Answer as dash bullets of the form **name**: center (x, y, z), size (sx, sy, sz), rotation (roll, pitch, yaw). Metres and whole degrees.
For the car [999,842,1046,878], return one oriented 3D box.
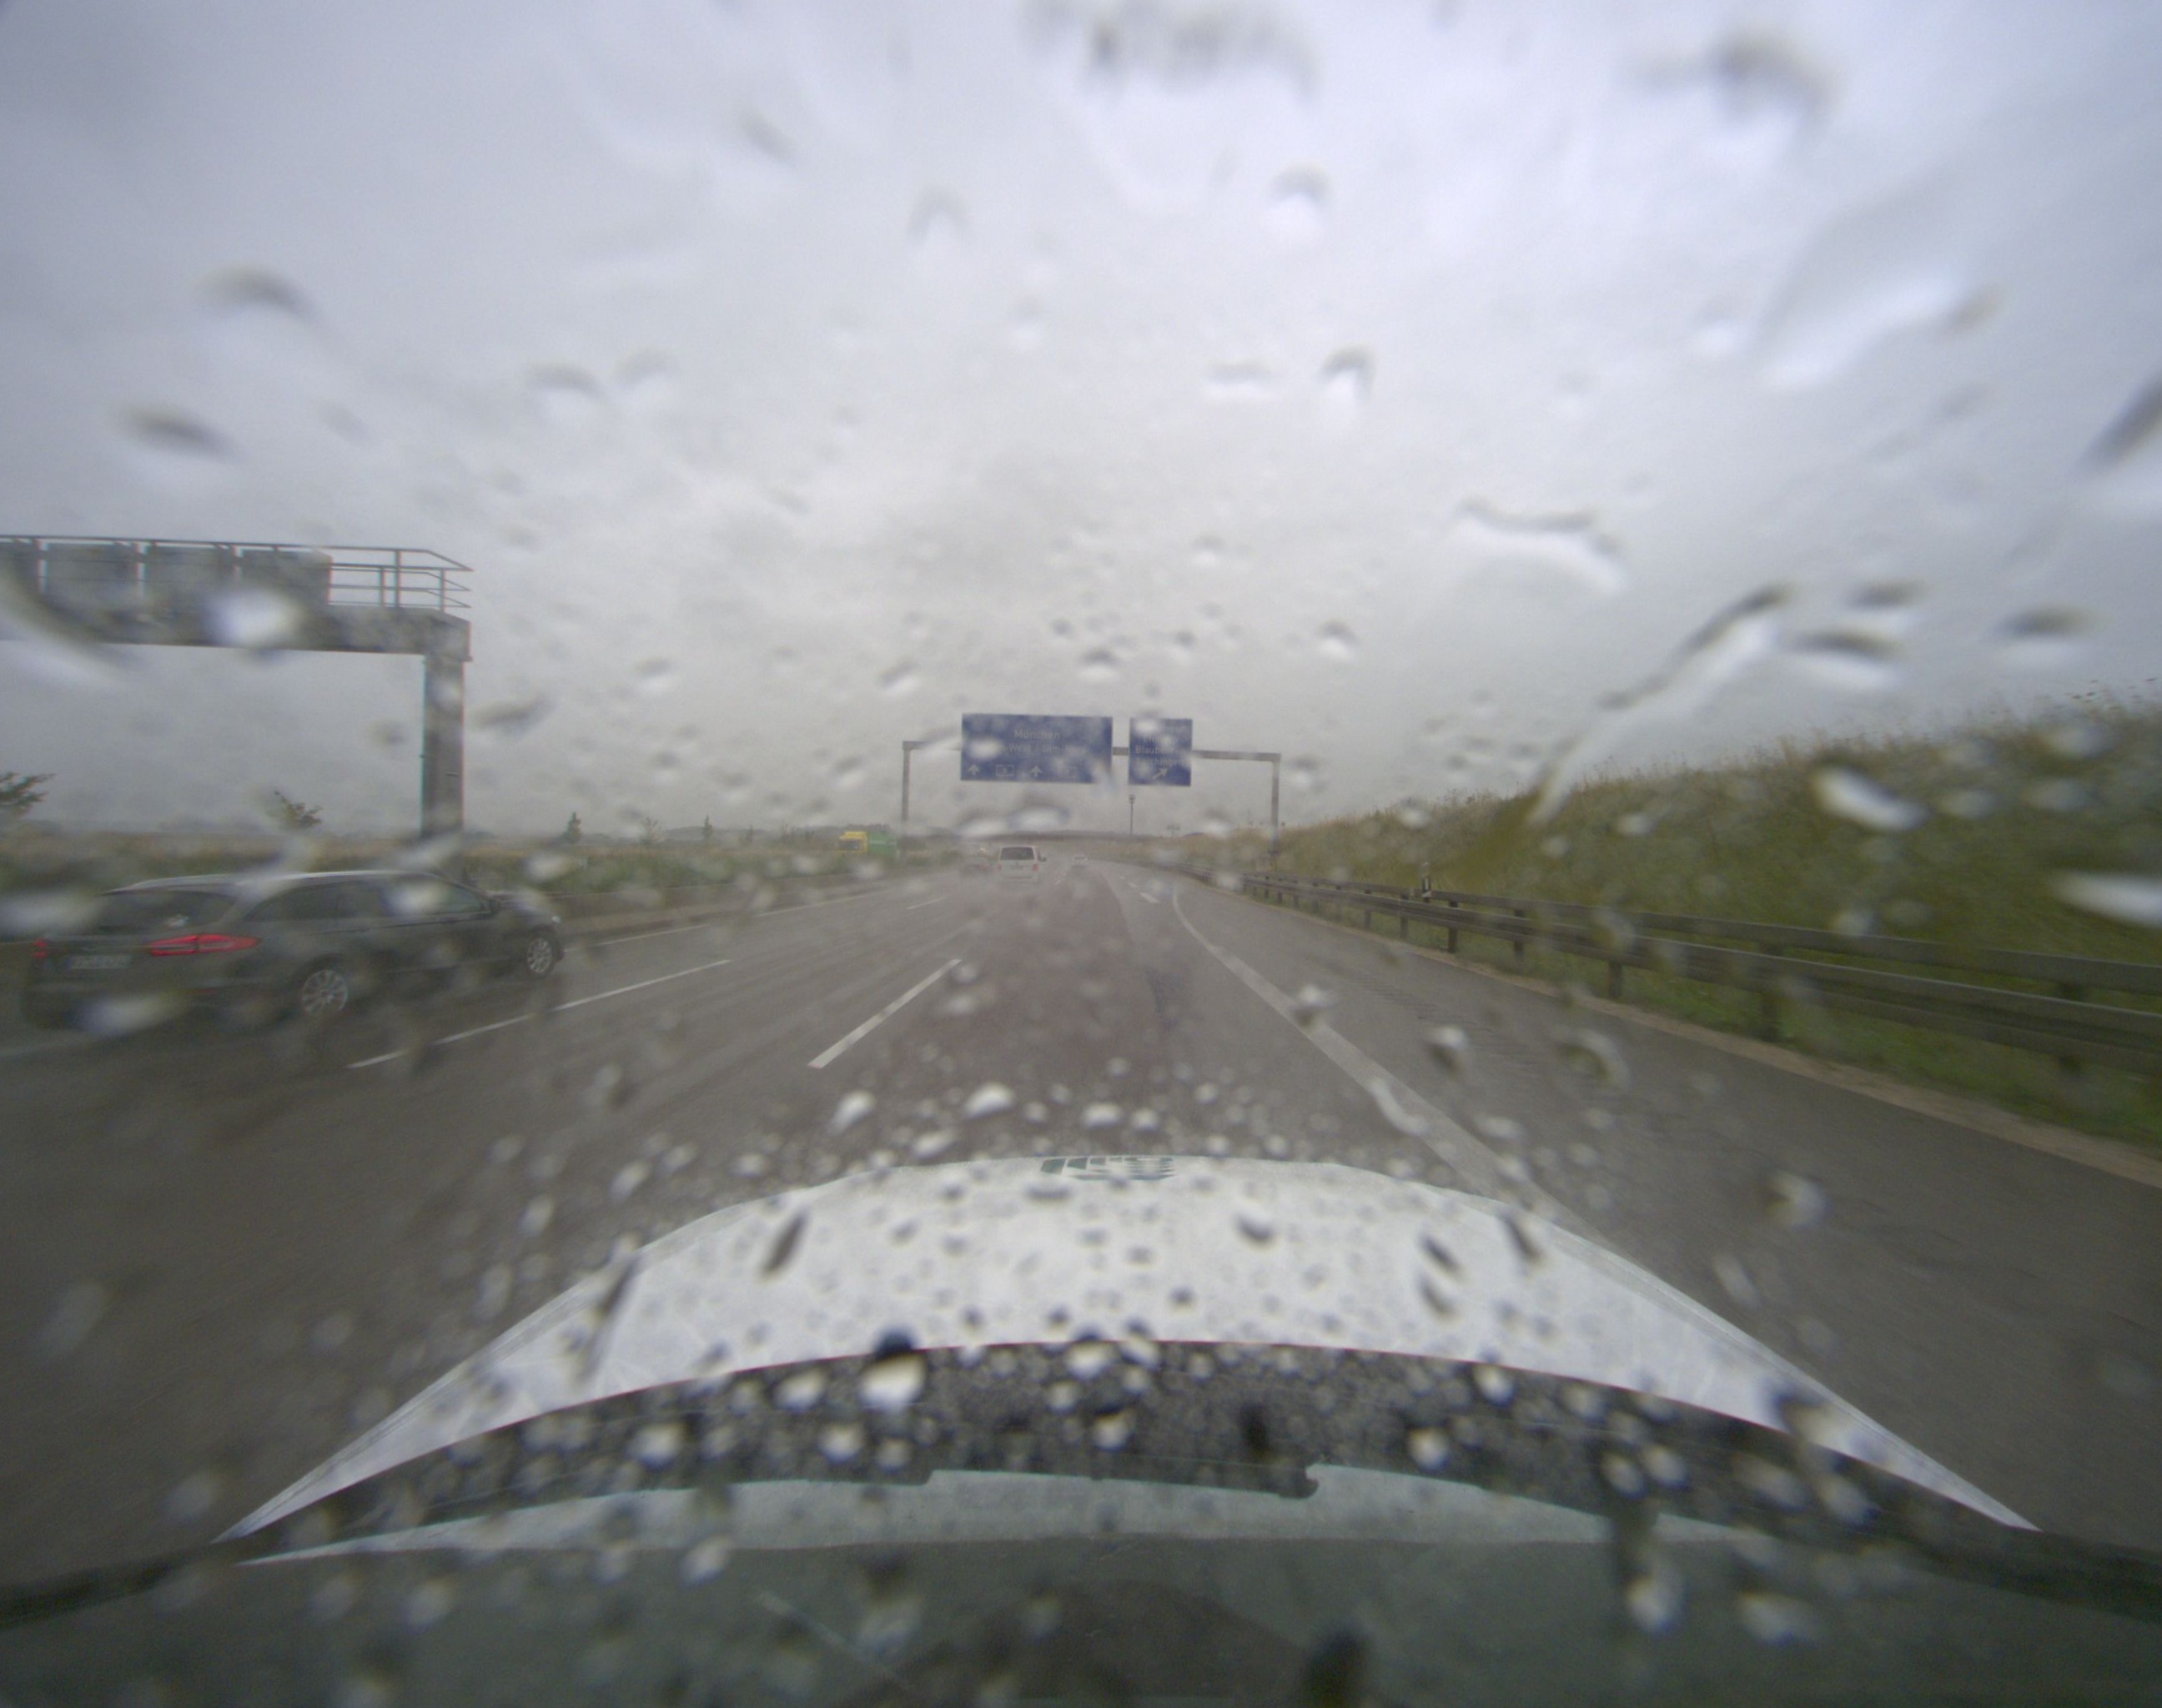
- **car**: center (-2.648, 0.279, 37.640), size (1.891, 1.585, 3.999), rotation (0, 0, 0)

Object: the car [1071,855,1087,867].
- **car**: center (-0.212, 0.688, 81.397), size (1.464, 1.208, 2.989), rotation (-1, 0, -1)

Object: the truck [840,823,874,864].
- **truck**: center (-22.613, -0.993, 82.370), size (2.003, 3.991, 4.820), rotation (-1, 0, 1)

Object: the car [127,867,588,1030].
- **car**: center (-7.610, 0.870, 9.207), size (1.607, 1.354, 4.000), rotation (-1, 0, 0)

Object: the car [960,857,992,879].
- **car**: center (-6.377, 0.821, 49.842), size (1.462, 1.257, 3.340), rotation (-1, 0, 1)
